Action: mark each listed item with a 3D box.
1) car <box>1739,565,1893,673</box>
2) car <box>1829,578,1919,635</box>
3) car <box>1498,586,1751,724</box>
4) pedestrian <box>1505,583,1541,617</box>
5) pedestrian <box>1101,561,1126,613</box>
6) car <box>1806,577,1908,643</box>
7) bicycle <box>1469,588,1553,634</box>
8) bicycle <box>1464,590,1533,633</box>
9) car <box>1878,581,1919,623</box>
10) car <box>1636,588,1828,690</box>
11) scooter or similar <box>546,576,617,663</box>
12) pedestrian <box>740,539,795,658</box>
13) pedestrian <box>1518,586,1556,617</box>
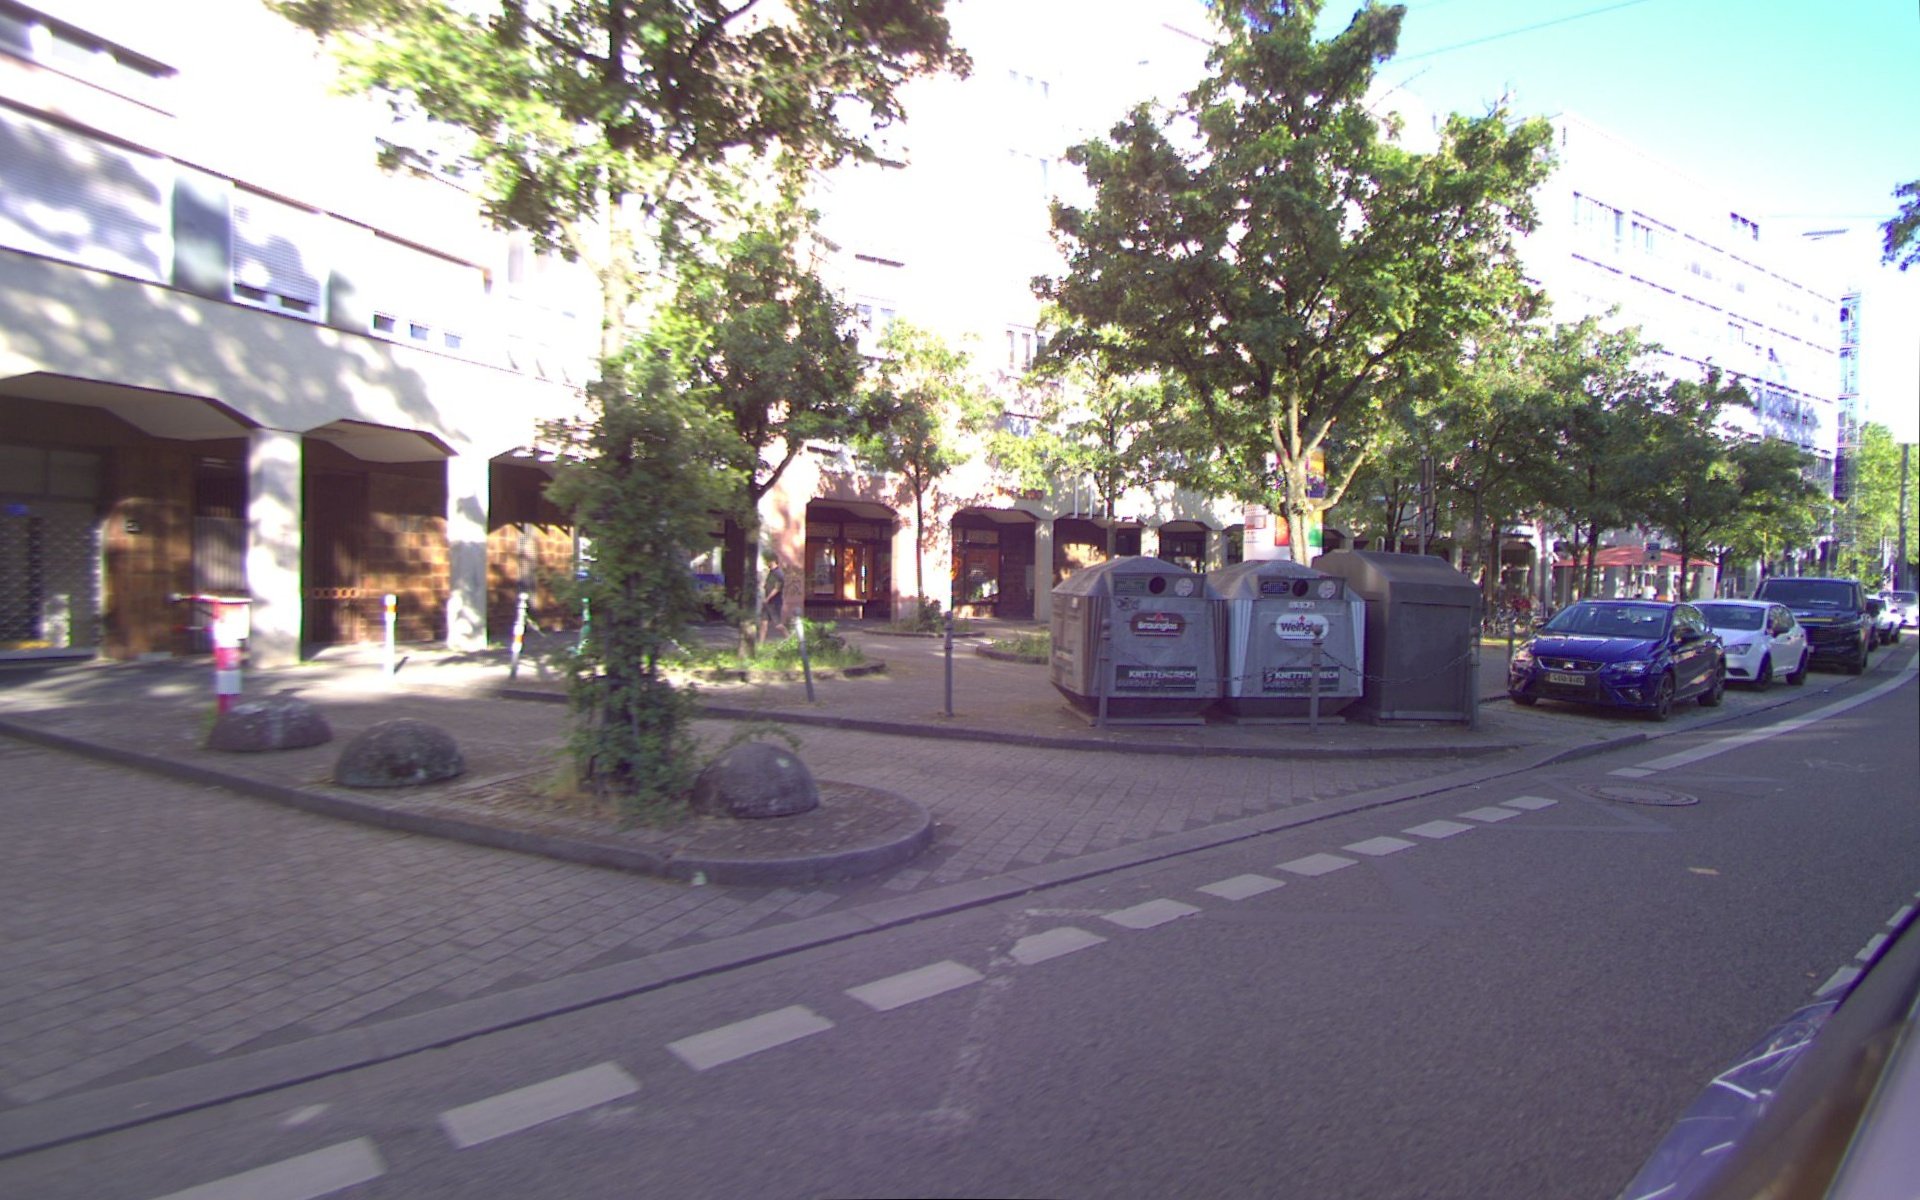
[{"bbox_3d":[18.278,0.328,21.521,2.039,1.967,5.114,4,3,44],"label":"car"},{"bbox_3d":[30.861,0.193,34.133,4.384,1.745,1.801,0,3,-43],"label":"car"},{"bbox_3d":[8.907,0.611,13.430,4.174,1.502,1.705,0,2,-41],"label":"car"},{"bbox_3d":[22.033,-0.003,39.592,0.951,1.266,0.931,0,1,-40],"label":"pedestrian"},{"bbox_3d":[5.637,-0.487,37.154,0.696,1.894,0.621,0,1,-41],"label":"pedestrian"},{"bbox_3d":[26.907,0.260,30.311,4.497,1.745,1.801,0,3,-43],"label":"car"},{"bbox_3d":[15.023,0.299,27.583,2.138,1.202,0.657,1,1,-16],"label":"bicycle"},{"bbox_3d":[15.049,0.320,28.292,1.872,1.169,0.486,1,1,-16],"label":"bicycle"},{"bbox_3d":[47.481,0.088,50.642,4.780,1.928,1.920,0,3,-44],"label":"car"},{"bbox_3d":[13.195,0.578,17.209,4.101,1.483,1.706,0,2,-40],"label":"car"},{"bbox_3d":[-5.346,0.239,14.248,0.548,1.160,1.458,0,1,-37],"label":"scooter or similar"},{"bbox_3d":[-3.333,-0.032,17.502,0.760,2.006,0.642,0,1,-29],"label":"pedestrian"},{"bbox_3d":[23.048,0.057,40.433,1.102,1.228,0.889,0,1,-34],"label":"pedestrian"}]
